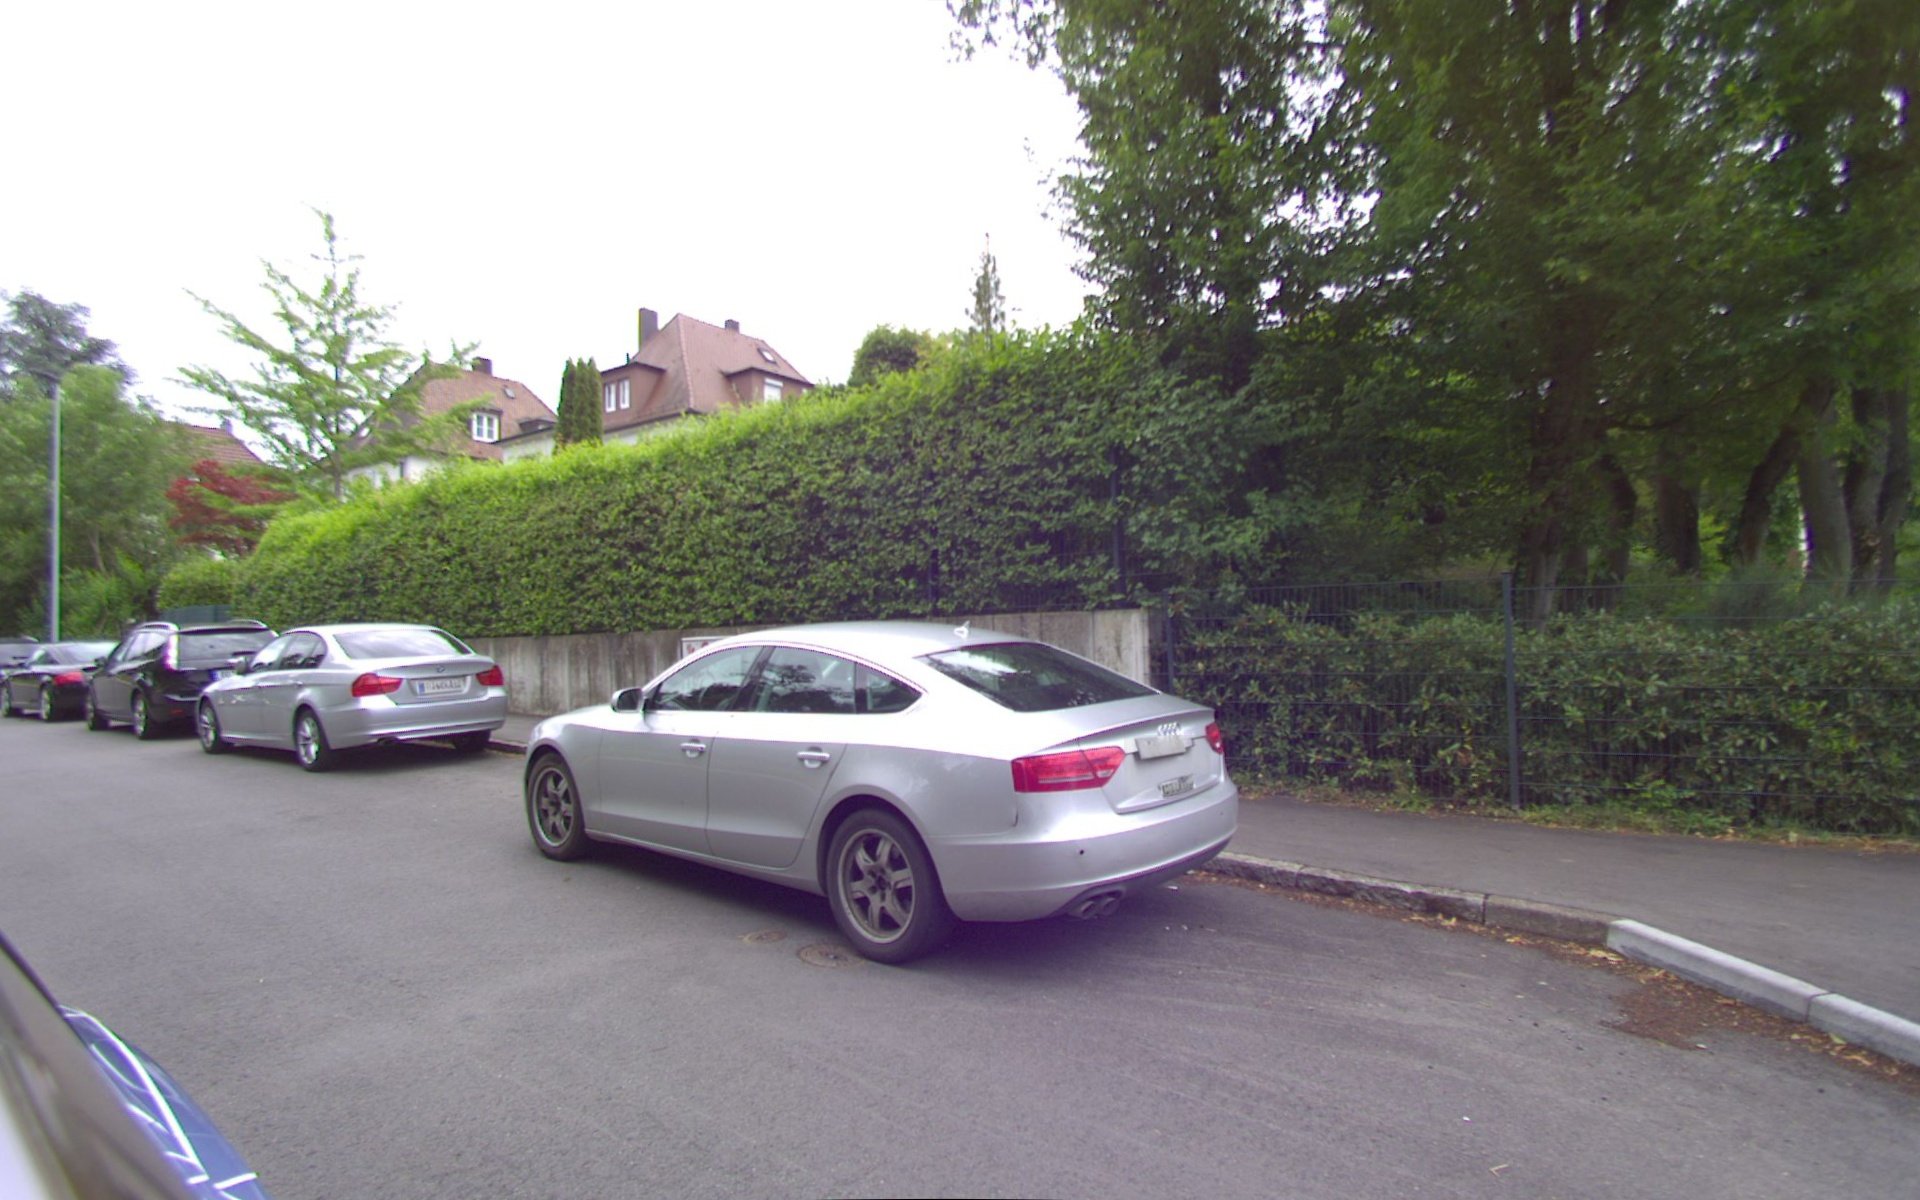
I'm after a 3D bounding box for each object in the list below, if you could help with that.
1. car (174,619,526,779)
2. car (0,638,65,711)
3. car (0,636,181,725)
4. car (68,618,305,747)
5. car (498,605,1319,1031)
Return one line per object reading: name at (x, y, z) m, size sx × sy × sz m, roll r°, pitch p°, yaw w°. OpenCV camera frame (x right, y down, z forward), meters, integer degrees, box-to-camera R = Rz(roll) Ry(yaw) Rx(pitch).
car at (-6.761, 0.963, 11.049) m, size 4.332 × 1.384 × 1.759 m, roll -2°, pitch -1°, yaw 36°
car at (-20.722, 1.553, 21.402) m, size 4.652 × 1.395 × 1.703 m, roll -2°, pitch -1°, yaw 35°
car at (-15.648, 1.366, 17.923) m, size 4.096 × 1.351 × 1.697 m, roll -2°, pitch -1°, yaw 33°
car at (-11.192, 1.091, 14.528) m, size 4.468 × 1.545 × 1.641 m, roll -2°, pitch -1°, yaw 38°
car at (-0.593, 0.788, 5.517) m, size 4.442 × 1.384 × 1.812 m, roll -2°, pitch -1°, yaw 41°
